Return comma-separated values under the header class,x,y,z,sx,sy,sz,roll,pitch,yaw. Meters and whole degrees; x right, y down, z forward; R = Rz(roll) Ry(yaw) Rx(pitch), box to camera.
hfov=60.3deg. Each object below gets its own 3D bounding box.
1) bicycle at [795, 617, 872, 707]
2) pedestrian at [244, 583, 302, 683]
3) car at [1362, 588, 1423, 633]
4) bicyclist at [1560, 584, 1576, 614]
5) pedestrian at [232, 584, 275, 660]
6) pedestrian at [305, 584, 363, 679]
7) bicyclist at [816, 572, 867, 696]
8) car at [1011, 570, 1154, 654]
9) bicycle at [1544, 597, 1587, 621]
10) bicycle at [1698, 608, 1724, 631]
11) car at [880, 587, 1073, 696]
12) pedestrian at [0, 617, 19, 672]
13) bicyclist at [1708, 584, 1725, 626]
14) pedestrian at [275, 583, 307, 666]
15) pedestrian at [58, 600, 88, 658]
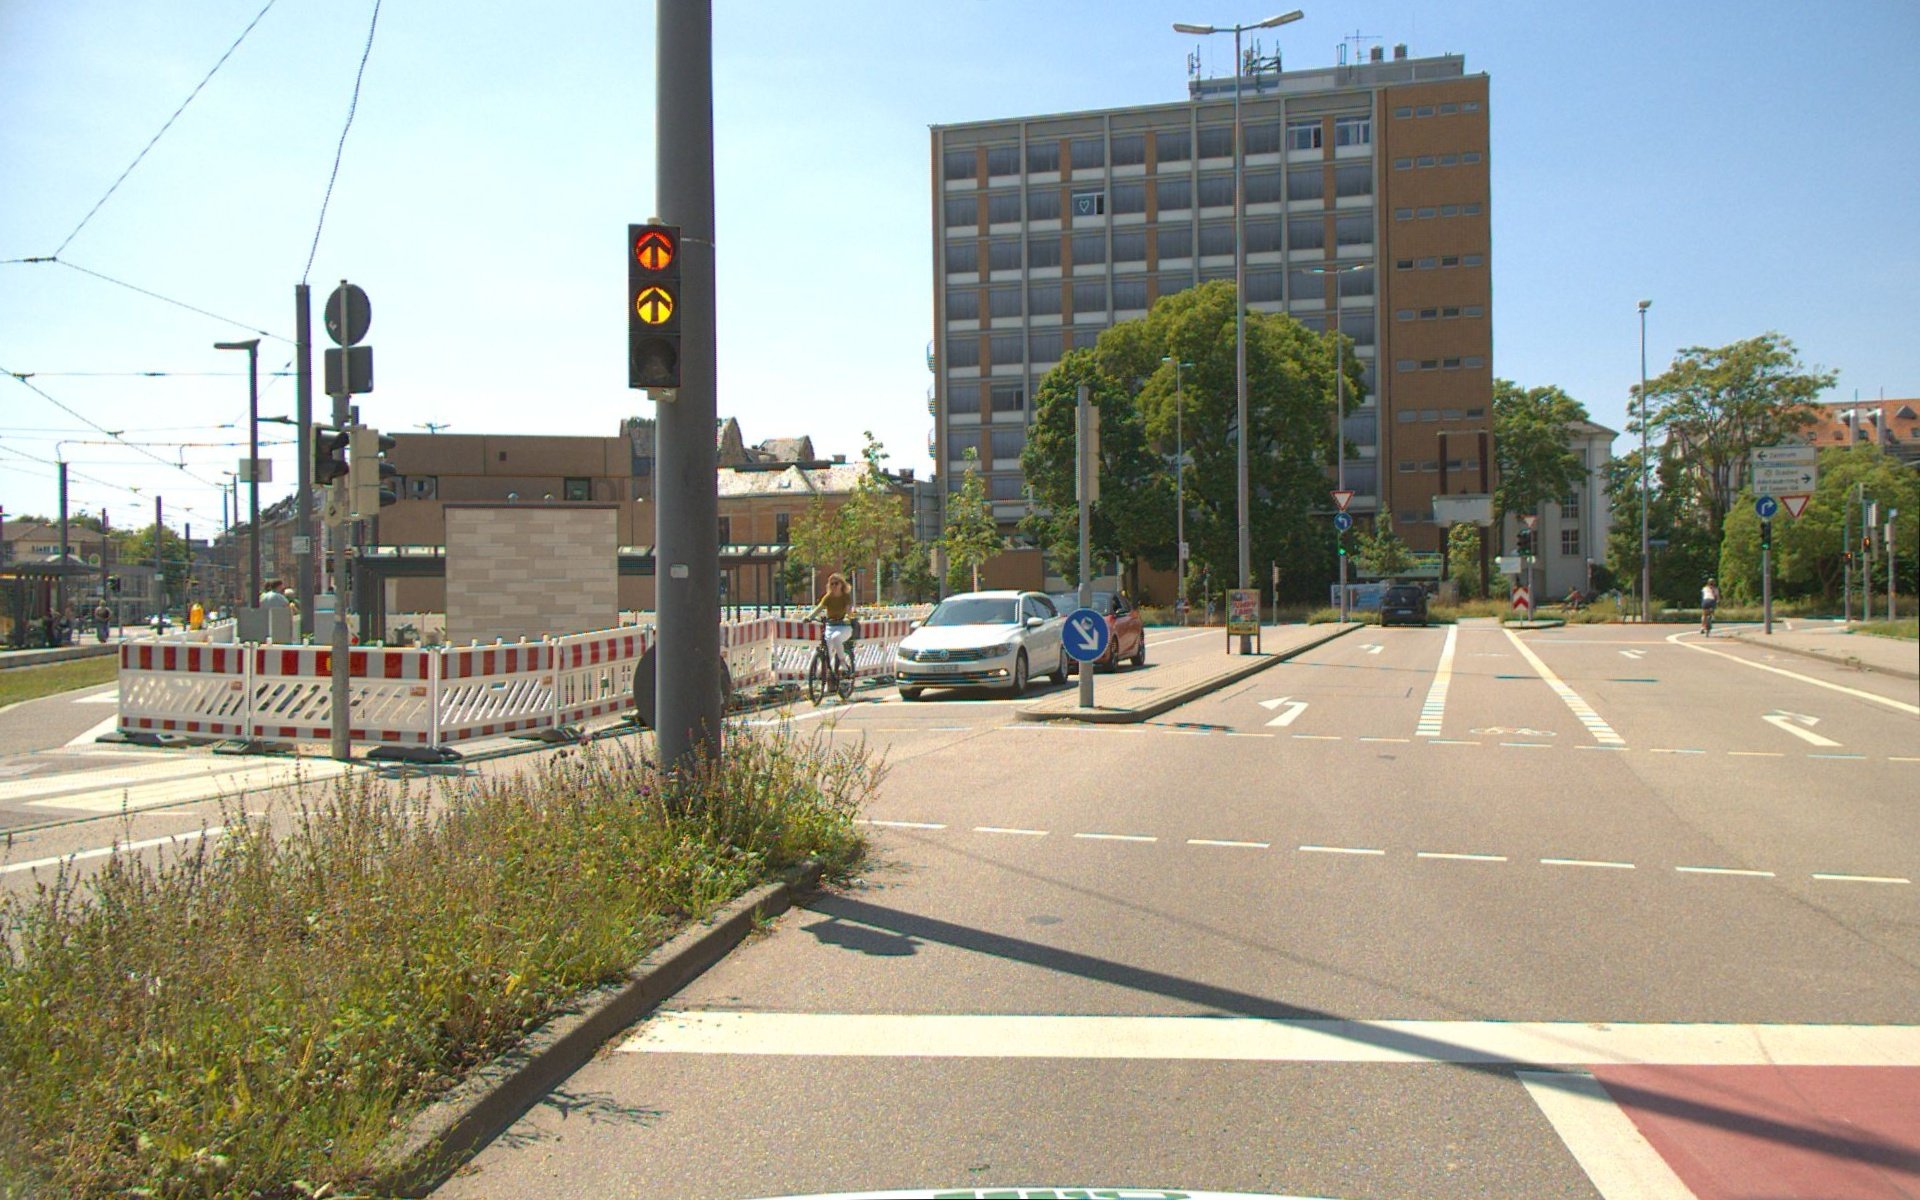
class,x,y,z,sx,sy,sz,roll,pitch,yaw
bicycle,-1.777,0.858,23.443,0.389,1.194,1.771,-1,0,20
pedestrian,-13.326,0.642,32.102,0.715,1.897,0.765,-1,-1,32
car,15.565,0.352,59.664,1.652,1.553,3.693,-1,0,7
bicyclist,30.937,-0.052,84.185,0.671,1.514,0.783,-1,-1,28
pedestrian,-16.286,0.511,38.121,0.722,1.737,0.733,0,-2,-40
pedestrian,-12.603,0.626,33.285,0.968,1.864,0.626,-1,0,-32
bicyclist,-1.700,0.470,23.675,0.555,1.749,0.507,0,1,23
car,2.379,0.233,31.139,1.695,1.450,4.125,-1,-1,19
bicycle,30.842,0.452,84.230,1.969,1.155,0.573,-1,-1,29
bicycle,22.497,0.588,49.526,0.371,0.657,1.638,-1,0,37
car,0.369,0.583,24.774,1.951,1.463,4.709,-1,-1,12
pedestrian,-32.688,1.521,56.334,0.966,1.867,0.765,-1,0,-42
bicyclist,22.640,0.154,49.505,0.346,1.249,0.562,-1,0,37
pedestrian,-15.925,0.588,39.374,0.709,1.957,1.067,0,-1,-22
pedestrian,-33.068,1.075,61.675,0.816,2.133,0.897,-1,0,-18
